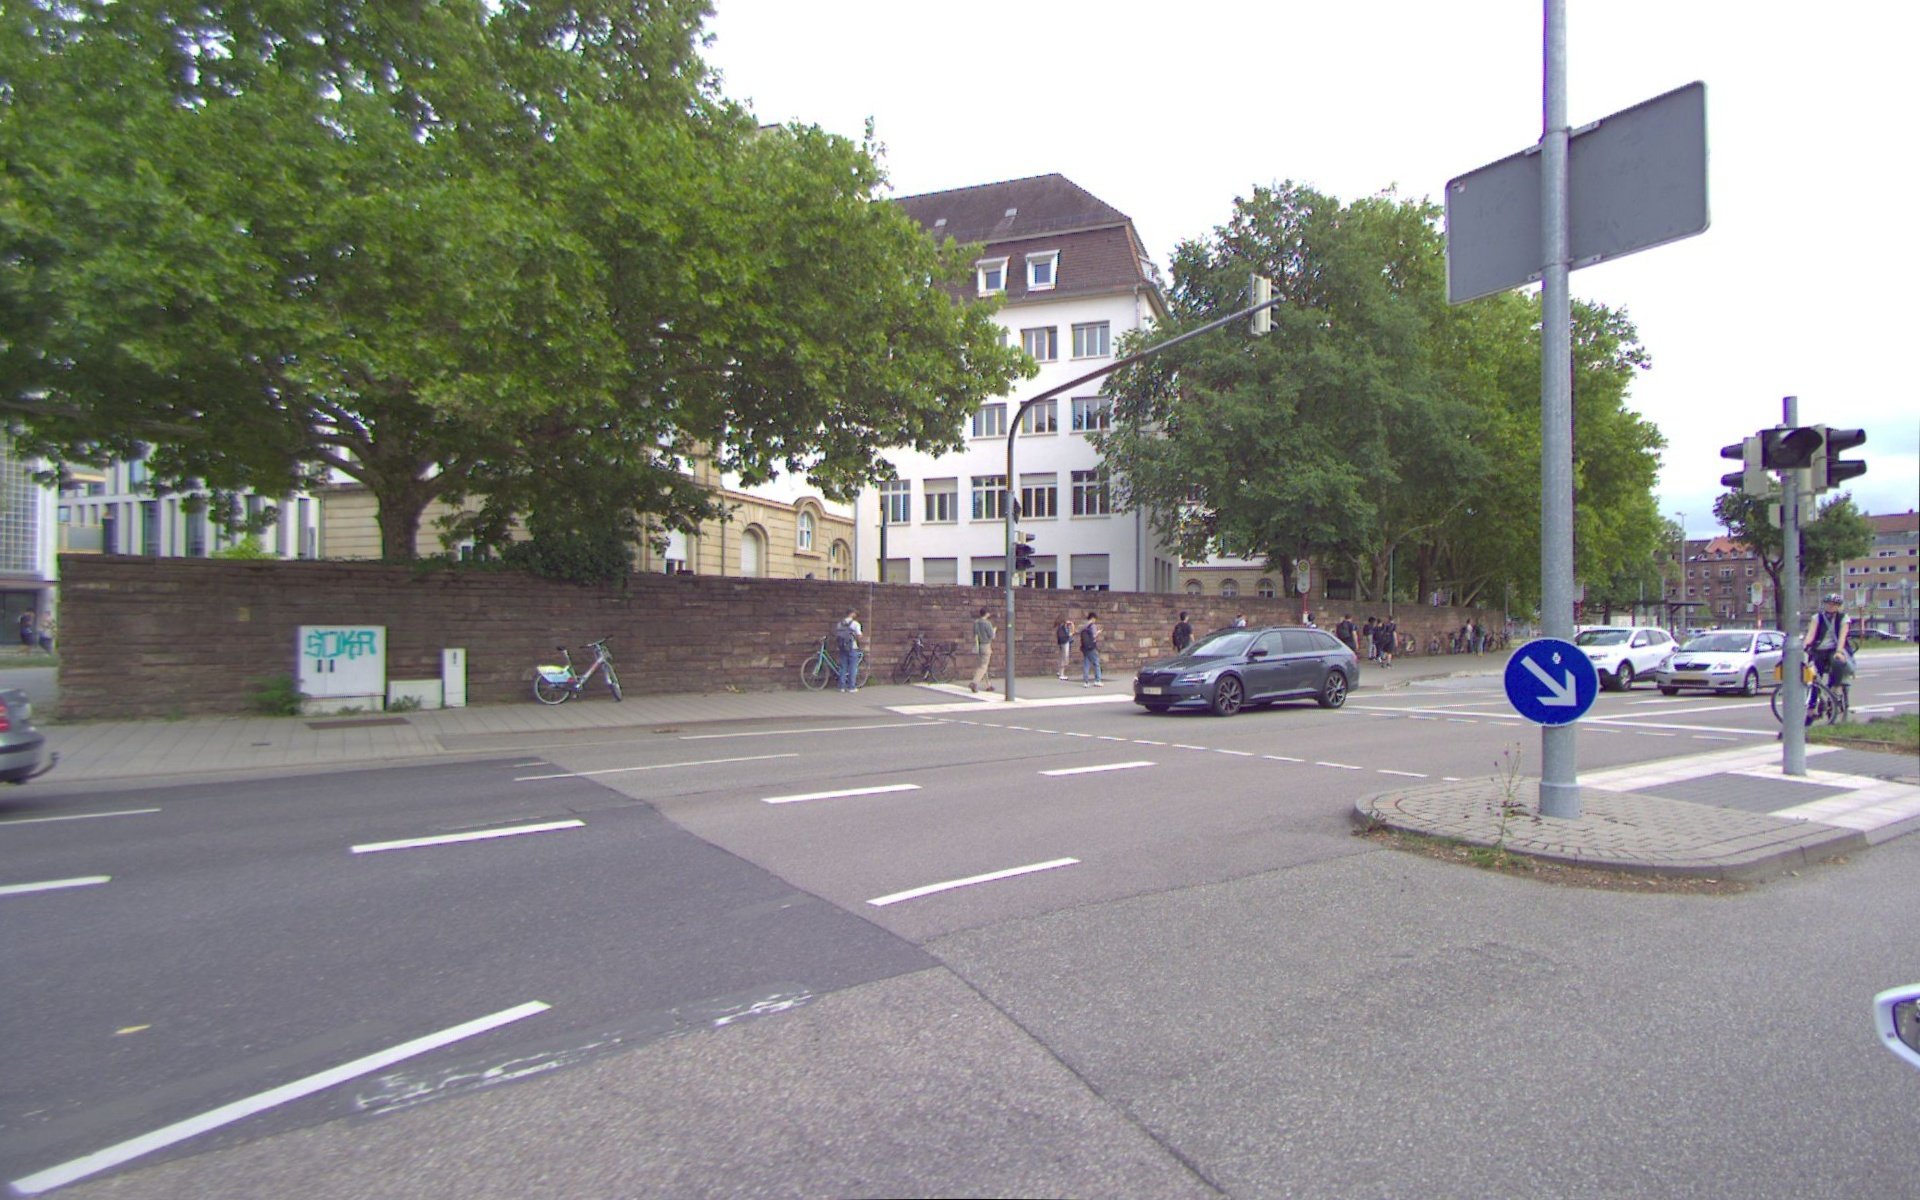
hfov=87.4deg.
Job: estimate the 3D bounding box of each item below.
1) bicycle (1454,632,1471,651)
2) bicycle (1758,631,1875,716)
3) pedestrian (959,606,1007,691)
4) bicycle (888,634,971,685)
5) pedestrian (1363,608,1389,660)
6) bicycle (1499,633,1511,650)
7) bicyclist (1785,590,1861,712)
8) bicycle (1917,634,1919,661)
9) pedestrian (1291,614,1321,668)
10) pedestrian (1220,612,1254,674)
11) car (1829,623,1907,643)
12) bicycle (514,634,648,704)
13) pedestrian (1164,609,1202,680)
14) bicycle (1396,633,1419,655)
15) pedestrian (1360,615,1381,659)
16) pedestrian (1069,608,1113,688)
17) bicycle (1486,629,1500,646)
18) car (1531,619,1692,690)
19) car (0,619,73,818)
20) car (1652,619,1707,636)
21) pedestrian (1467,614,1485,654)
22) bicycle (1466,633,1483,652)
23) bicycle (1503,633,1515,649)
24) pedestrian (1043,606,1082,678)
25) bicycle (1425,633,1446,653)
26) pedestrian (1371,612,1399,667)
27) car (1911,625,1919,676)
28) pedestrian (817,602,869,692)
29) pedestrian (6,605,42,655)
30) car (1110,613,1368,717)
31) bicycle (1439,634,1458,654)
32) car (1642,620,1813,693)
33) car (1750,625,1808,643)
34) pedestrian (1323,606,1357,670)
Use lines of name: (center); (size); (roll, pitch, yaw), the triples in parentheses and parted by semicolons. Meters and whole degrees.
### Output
bicycle: (23.810, 1.962, 47.606); (0.342, 0.890, 1.515); (3, 0, 40)
bicycle: (11.478, 0.958, 13.448); (1.902, 1.069, 0.571); (1, -1, -29)
pedestrian: (0.502, 1.047, 21.802); (0.733, 1.806, 0.783); (1, -2, 25)
bicycle: (-0.687, 1.355, 23.110); (1.964, 1.072, 0.544); (1, 2, -40)
pedestrian: (14.667, 1.208, 35.417); (0.747, 1.806, 0.783); (1, -2, 29)
bicycle: (32.468, 2.468, 59.870); (0.474, 0.919, 1.616); (2, 0, 33)
bicyclist: (11.623, 0.674, 13.529); (0.690, 1.595, 0.570); (1, -1, -28)
bicycle: (45.354, 2.202, 46.729); (2.019, 1.233, 0.616); (1, -1, -28)
pedestrian: (11.129, 1.331, 32.314); (0.747, 1.693, 0.923); (1, -2, 29)
pedestrian: (8.309, 1.287, 30.126); (0.747, 1.806, 0.913); (1, -2, 29)
car: (76.529, 2.799, 84.706); (1.645, 1.495, 4.635); (1, 0, -37)
bicycle: (-6.698, 1.196, 17.840); (2.145, 1.141, 0.573); (1, 2, -38)
pedestrian: (5.796, 1.160, 26.144); (0.747, 1.806, 0.783); (1, -2, 29)
bicycle: (18.372, 1.795, 41.225); (0.435, 0.838, 1.613); (3, 0, 40)
pedestrian: (15.473, 1.405, 37.847); (0.578, 1.613, 0.733); (0, -2, 35)
pedestrian: (3.054, 1.117, 23.413); (0.747, 1.806, 0.783); (1, -2, 28)
bicycle: (28.514, 2.012, 53.768); (0.474, 0.919, 1.616); (-1, -2, 34)
car: (16.657, 1.335, 25.632); (4.375, 1.674, 1.854); (1, -1, -33)
car: (-9.477, 0.886, 7.178); (4.501, 1.509, 1.749); (1, -1, -36)
car: (71.307, 2.717, 99.553); (1.632, 1.671, 4.123); (1, -2, -38)
pedestrian: (22.518, 1.488, 43.801); (0.553, 1.690, 0.624); (0, -2, 41)
bicycle: (25.414, 2.084, 49.598); (0.435, 0.890, 1.615); (2, 0, 36)
bicycle: (33.612, 2.508, 61.512); (0.474, 0.919, 1.616); (2, 0, 33)
pedestrian: (2.618, 1.068, 25.596); (0.747, 1.806, 0.783); (1, -2, 26)
bicycle: (20.911, 1.878, 44.169); (0.435, 0.838, 1.613); (3, 0, 40)
pedestrian: (14.145, 1.314, 33.426); (0.747, 1.806, 0.923); (1, -2, 29)
car: (31.250, 1.520, 31.073); (4.060, 1.531, 1.791); (0, -1, -34)
pedestrian: (-2.416, 0.971, 20.869); (0.732, 1.806, 0.784); (1, -2, 23)
pedestrian: (-29.613, 0.945, 31.779); (0.649, 1.569, 0.705); (1, -1, -29)
car: (5.044, 1.072, 17.896); (4.696, 1.637, 1.885); (1, -1, -35)
bicycle: (22.358, 2.011, 45.979); (0.411, 0.890, 1.548); (3, 0, 40)
car: (17.327, 1.216, 22.628); (4.243, 1.509, 1.791); (1, -1, -34)
car: (73.138, 3.038, 89.728); (1.570, 1.413, 3.736); (1, 0, -36)
pedestrian: (10.815, 1.081, 28.591); (0.748, 1.806, 0.720); (0, -2, 34)
